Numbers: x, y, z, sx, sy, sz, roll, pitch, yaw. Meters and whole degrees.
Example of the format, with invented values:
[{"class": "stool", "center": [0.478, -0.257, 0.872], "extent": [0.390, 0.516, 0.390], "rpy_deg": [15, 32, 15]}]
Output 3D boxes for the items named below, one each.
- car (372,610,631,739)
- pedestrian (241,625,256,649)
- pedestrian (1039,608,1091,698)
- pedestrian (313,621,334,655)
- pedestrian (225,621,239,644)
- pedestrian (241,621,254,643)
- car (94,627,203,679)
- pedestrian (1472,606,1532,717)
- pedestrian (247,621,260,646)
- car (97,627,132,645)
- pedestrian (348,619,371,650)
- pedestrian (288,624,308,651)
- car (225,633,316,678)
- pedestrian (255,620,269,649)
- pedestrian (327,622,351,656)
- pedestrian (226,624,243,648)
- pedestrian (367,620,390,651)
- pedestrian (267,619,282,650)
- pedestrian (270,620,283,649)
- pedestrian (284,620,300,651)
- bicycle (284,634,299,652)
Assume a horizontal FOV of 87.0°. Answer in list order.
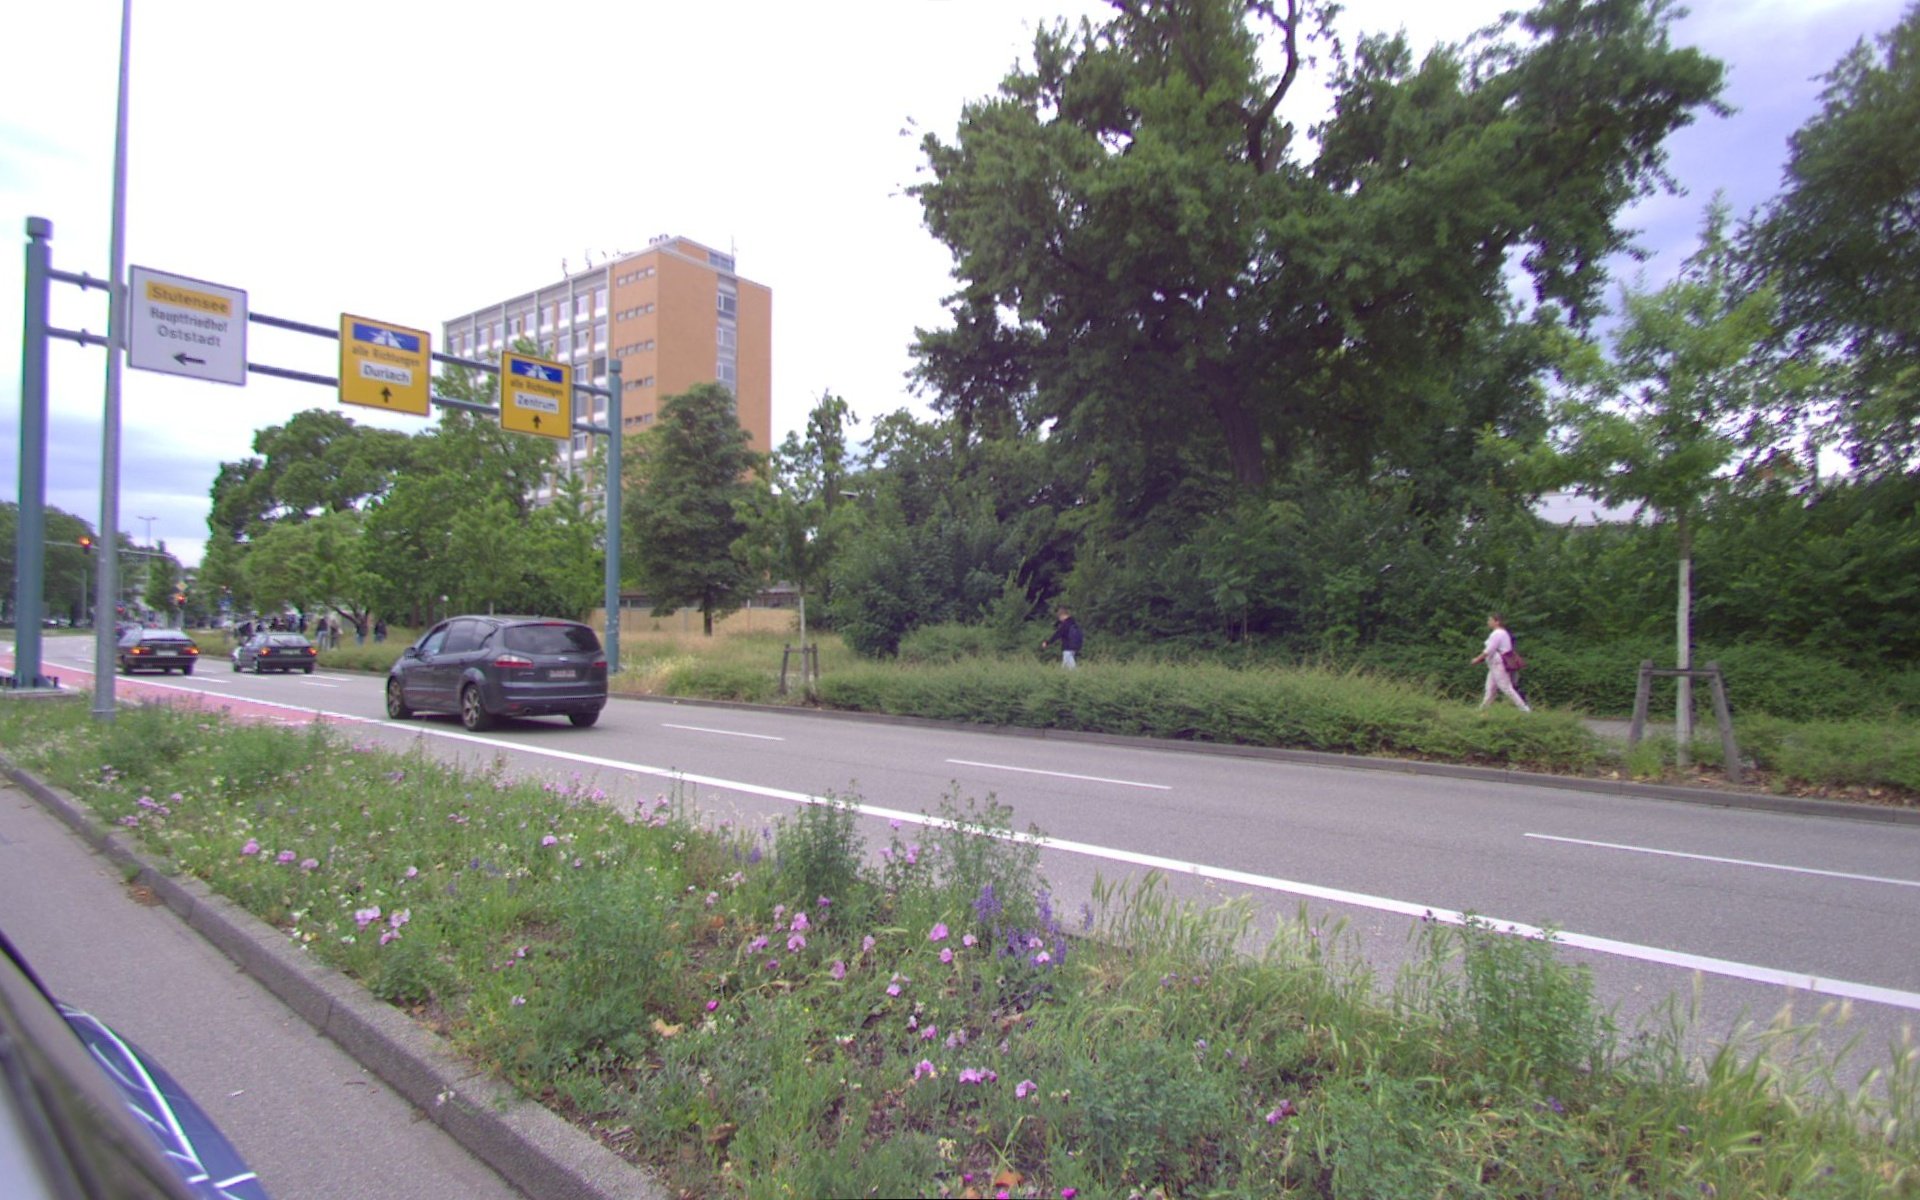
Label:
[{"class": "car", "center": [-7.044, 1.030, 15.362], "extent": [4.397, 1.677, 1.900], "rpy_deg": [-1, -3, 41]}, {"class": "pedestrian", "center": [-46.282, 2.408, 65.828], "extent": [0.762, 1.491, 0.628], "rpy_deg": [-2, -4, 44]}, {"class": "pedestrian", "center": [2.097, 1.045, 20.177], "extent": [0.818, 1.742, 0.613], "rpy_deg": [-2, -4, 41]}, {"class": "pedestrian", "center": [-31.531, 1.904, 50.123], "extent": [0.719, 1.673, 0.580], "rpy_deg": [-1, -4, 35]}, {"class": "pedestrian", "center": [-55.665, 2.476, 77.341], "extent": [0.943, 1.683, 0.698], "rpy_deg": [-2, -2, 44]}, {"class": "pedestrian", "center": [-54.999, 2.477, 78.133], "extent": [0.890, 1.683, 0.698], "rpy_deg": [-2, -1, 45]}, {"class": "car", "center": [-25.388, 1.633, 31.606], "extent": [4.788, 1.471, 1.746], "rpy_deg": [-1, -4, 40]}, {"class": "pedestrian", "center": [8.390, 0.943, 15.657], "extent": [0.671, 1.648, 0.693], "rpy_deg": [-2, -4, 41]}, {"class": "pedestrian", "center": [-51.931, 2.460, 74.369], "extent": [0.762, 1.815, 0.630], "rpy_deg": [-2, -3, 44]}, {"class": "car", "center": [-85.793, 3.622, 102.747], "extent": [1.785, 1.680, 3.962], "rpy_deg": [2, -2, -27]}, {"class": "pedestrian", "center": [-26.958, 1.565, 45.433], "extent": [0.711, 1.368, 0.638], "rpy_deg": [-2, -4, 40]}, {"class": "pedestrian", "center": [-40.442, 2.266, 61.841], "extent": [0.823, 1.625, 0.631], "rpy_deg": [-2, -1, 19]}, {"class": "car", "center": [-22.954, 1.823, 33.651], "extent": [3.807, 1.391, 1.591], "rpy_deg": [-2, -4, 42]}, {"class": "pedestrian", "center": [-41.793, 2.053, 60.605], "extent": [0.613, 1.708, 0.748], "rpy_deg": [3, -3, -32]}, {"class": "pedestrian", "center": [-31.107, 1.935, 50.694], "extent": [0.766, 1.685, 0.700], "rpy_deg": [-1, -4, 35]}, {"class": "pedestrian", "center": [-46.750, 2.330, 65.224], "extent": [0.813, 1.491, 0.720], "rpy_deg": [-2, -4, 44]}, {"class": "pedestrian", "center": [-26.434, 1.613, 46.011], "extent": [0.680, 1.373, 0.638], "rpy_deg": [-2, -4, 39]}, {"class": "pedestrian", "center": [-36.126, 1.834, 53.359], "extent": [0.567, 1.621, 0.618], "rpy_deg": [3, -4, -33]}, {"class": "pedestrian", "center": [-41.296, 2.072, 61.158], "extent": [0.570, 1.725, 0.764], "rpy_deg": [2, -3, -30]}, {"class": "pedestrian", "center": [-35.753, 1.885, 54.147], "extent": [0.652, 1.644, 0.765], "rpy_deg": [3, -4, -34]}, {"class": "bicycle", "center": [-35.758, 2.300, 54.126], "extent": [0.652, 0.894, 1.719], "rpy_deg": [3, -3, -34]}]
